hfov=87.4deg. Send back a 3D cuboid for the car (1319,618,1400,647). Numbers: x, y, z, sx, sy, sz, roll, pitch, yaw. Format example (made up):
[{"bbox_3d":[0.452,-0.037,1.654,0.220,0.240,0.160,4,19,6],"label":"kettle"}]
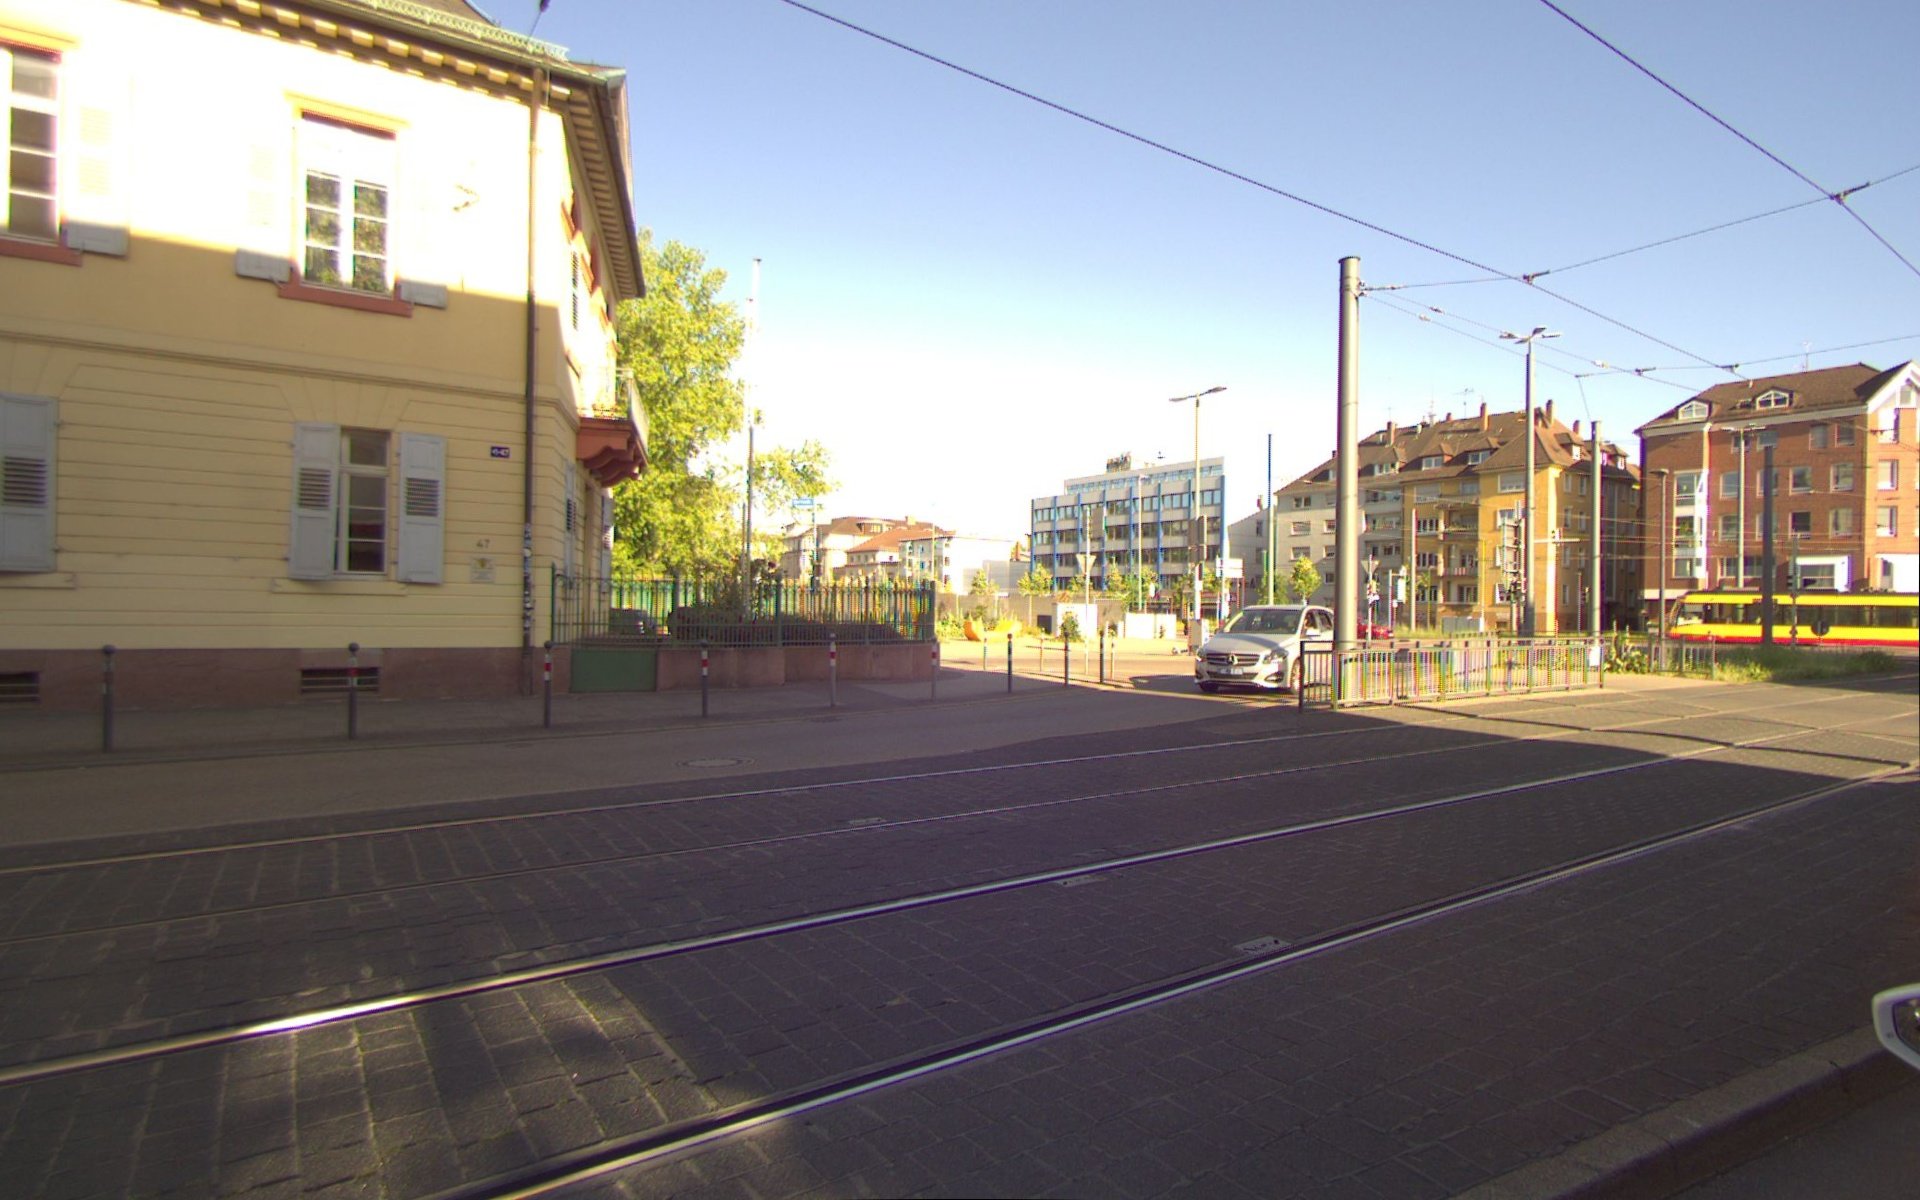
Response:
[{"bbox_3d":[23.993,1.940,60.430,1.923,1.510,4.110,1,1,-40],"label":"car"}]

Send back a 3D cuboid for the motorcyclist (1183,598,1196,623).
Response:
[{"bbox_3d":[16.179,0.717,70.723,0.385,1.731,0.775,1,2,-38],"label":"motorcyclist"}]

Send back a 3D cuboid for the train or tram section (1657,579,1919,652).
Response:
[{"bbox_3d":[50.615,0.865,60.346,13.920,3.765,2.681,3,1,24],"label":"train or tram section"}]

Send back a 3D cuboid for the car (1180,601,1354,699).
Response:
[{"bbox_3d":[5.774,0.848,18.555,1.759,1.589,4.276,0,-1,36],"label":"car"}]

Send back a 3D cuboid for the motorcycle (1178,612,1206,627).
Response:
[{"bbox_3d":[16.274,1.365,70.612,0.556,0.905,1.982,1,2,-38],"label":"motorcycle"}]
